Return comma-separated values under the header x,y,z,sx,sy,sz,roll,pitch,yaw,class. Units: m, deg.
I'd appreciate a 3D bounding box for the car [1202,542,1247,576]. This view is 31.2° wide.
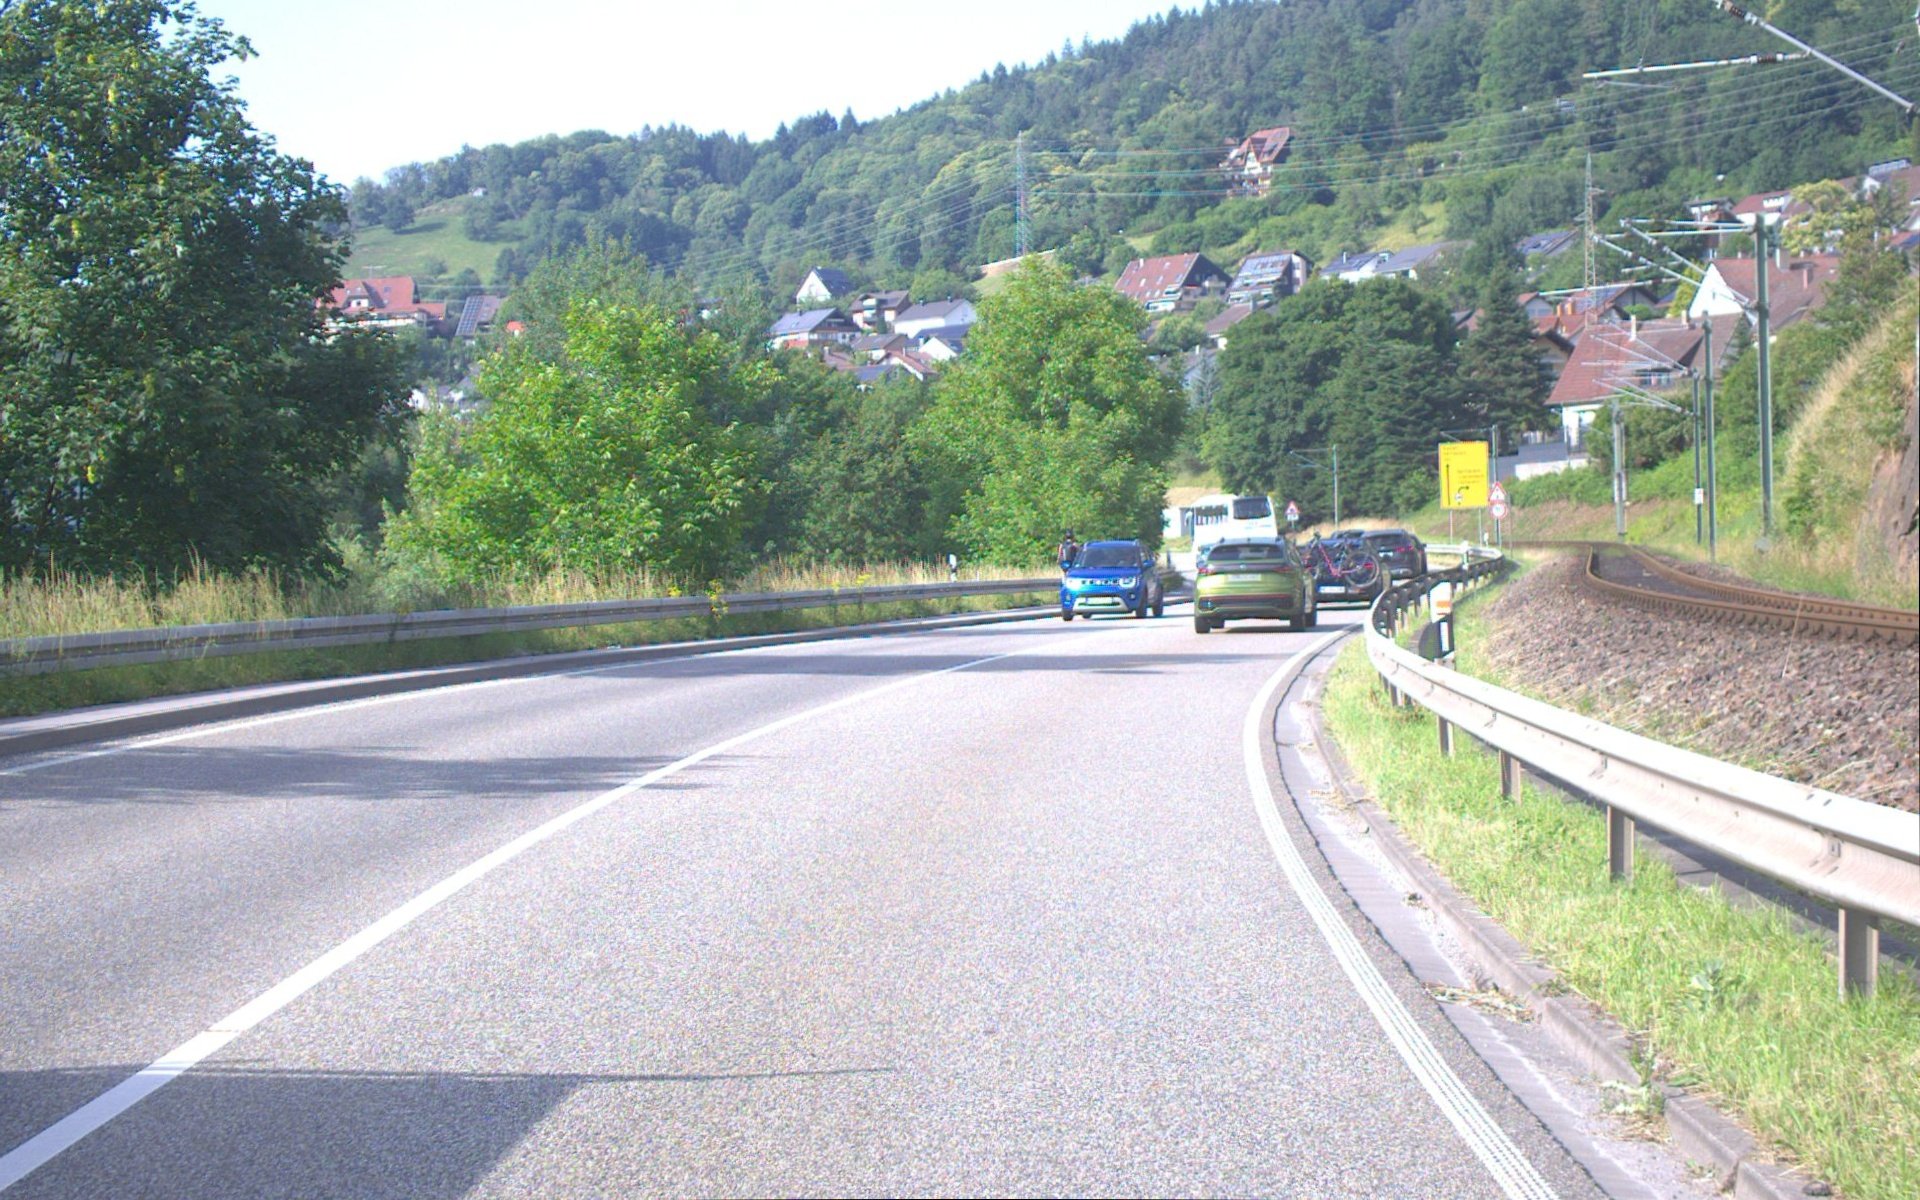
x,y,z,sx,sy,sz,roll,pitch,yaw,class
12.381,-1.913,160.957,1.578,1.474,3.998,4,2,10,car

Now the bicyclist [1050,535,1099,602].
x,y,z,sx,sy,sz,roll,pitch,yaw,class
2.729,-0.757,82.098,1.035,1.581,0.558,1,2,41,bicyclist

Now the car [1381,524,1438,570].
x,y,z,sx,sy,sz,roll,pitch,yaw,class
15.791,-1.877,120.844,1.849,1.521,3.662,-1,1,6,car

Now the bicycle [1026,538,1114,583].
x,y,z,sx,sy,sz,roll,pitch,yaw,class
2.620,-0.950,82.189,2.227,1.042,0.558,1,2,40,bicycle

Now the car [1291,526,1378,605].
x,y,z,sx,sy,sz,roll,pitch,yaw,class
7.587,-0.708,69.423,1.667,1.554,3.999,0,1,8,car

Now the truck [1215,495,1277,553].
x,y,z,sx,sy,sz,roll,pitch,yaw,class
15.386,-4.083,185.268,2.711,3.073,6.109,0,1,-1,truck

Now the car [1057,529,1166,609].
x,y,z,sx,sy,sz,roll,pitch,yaw,class
3.064,-0.637,69.079,1.752,1.561,3.999,0,1,9,car

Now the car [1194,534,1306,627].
x,y,z,sx,sy,sz,roll,pitch,yaw,class
4.681,-0.340,55.236,1.715,1.450,3.999,0,1,5,car

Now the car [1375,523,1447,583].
x,y,z,sx,sy,sz,roll,pitch,yaw,class
12.851,-1.344,97.835,1.881,1.681,3.999,0,1,9,car
